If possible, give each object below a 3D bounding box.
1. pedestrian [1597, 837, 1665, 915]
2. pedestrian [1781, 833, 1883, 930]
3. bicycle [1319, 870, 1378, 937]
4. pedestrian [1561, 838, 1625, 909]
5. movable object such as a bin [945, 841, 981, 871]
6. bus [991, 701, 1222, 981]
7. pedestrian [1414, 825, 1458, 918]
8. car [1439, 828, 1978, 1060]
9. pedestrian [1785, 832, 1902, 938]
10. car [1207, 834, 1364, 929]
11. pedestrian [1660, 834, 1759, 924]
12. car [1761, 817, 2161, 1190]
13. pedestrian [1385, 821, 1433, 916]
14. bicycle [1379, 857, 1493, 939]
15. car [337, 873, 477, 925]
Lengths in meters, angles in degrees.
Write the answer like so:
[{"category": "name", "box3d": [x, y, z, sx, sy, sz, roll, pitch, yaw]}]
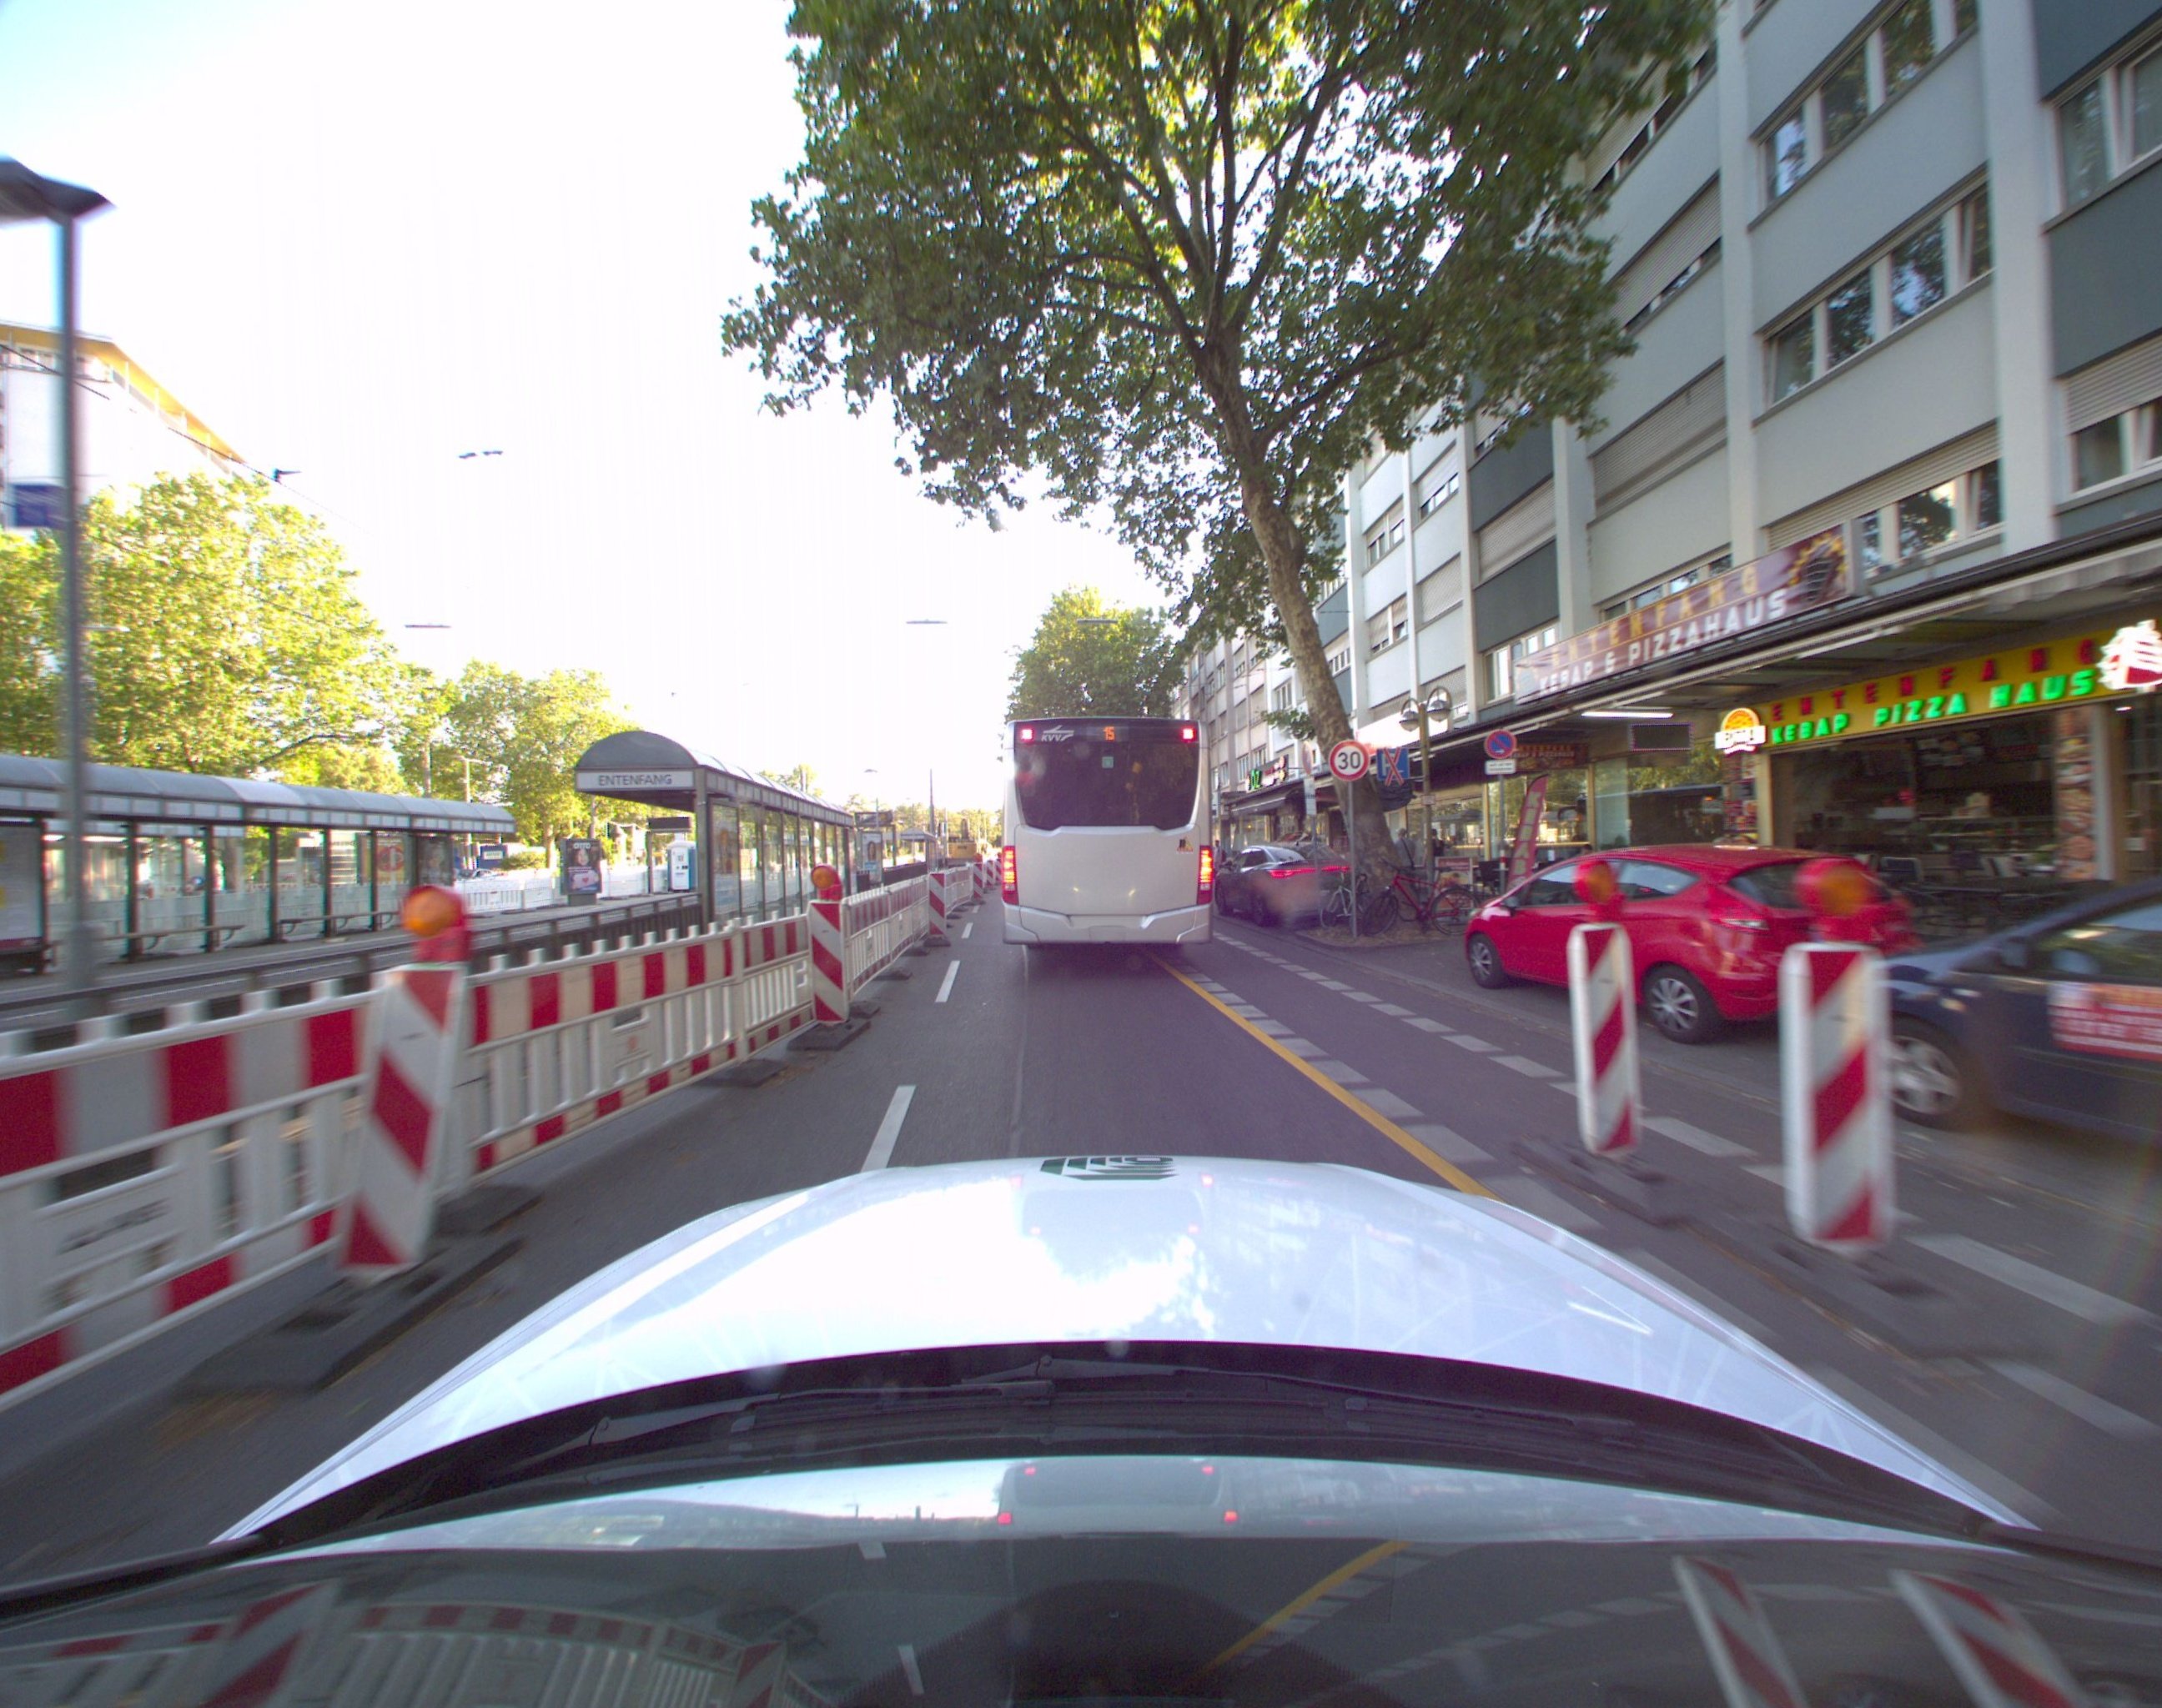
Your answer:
[{"category": "pedestrian", "box3d": [9.248, 0.358, 13.713, 0.612, 1.243, 0.713, -5, -1, 8]}, {"category": "pedestrian", "box3d": [9.621, 0.343, 10.456, 0.669, 1.156, 0.595, -5, -1, -2]}, {"category": "bicycle", "box3d": [4.199, 0.760, 12.851, 0.295, 0.927, 1.126, -7, 3, -11]}, {"category": "pedestrian", "box3d": [9.261, 0.346, 14.750, 0.673, 1.203, 0.706, -5, -1, 9]}, {"category": "movable object such as a bin", "box3d": [-10.062, 0.148, 70.000, 2.803, 2.462, 3.992, -2, 0, -6]}, {"category": "bus", "box3d": [0.382, -0.152, 14.519, 2.599, 3.169, 10.293, -1, 0, 1]}, {"category": "pedestrian", "box3d": [7.928, 0.384, 18.231, 0.611, 2.013, 0.696, -2, 0, -1]}, {"category": "car", "box3d": [5.111, 0.596, 7.415, 1.664, 1.429, 3.840, -4, 0, -6]}, {"category": "pedestrian", "box3d": [8.991, 0.353, 9.631, 0.591, 1.156, 0.752, -5, -1, 0]}, {"category": "car", "box3d": [4.071, 0.500, 16.994, 1.737, 1.597, 4.290, -4, 0, -6]}, {"category": "pedestrian", "box3d": [9.231, 0.359, 11.986, 0.858, 1.220, 0.699, -5, -1, 13]}, {"category": "car", "box3d": [5.195, 0.592, 3.331, 1.616, 1.466, 3.600, -4, 0, -4]}, {"category": "pedestrian", "box3d": [7.144, 0.310, 17.765, 0.689, 2.013, 0.695, -2, 0, -3]}, {"category": "bicycle", "box3d": [5.250, 0.654, 12.082, 1.451, 1.066, 0.296, -5, 3, 10]}, {"category": "car", "box3d": [-26.756, 1.731, 32.585, 1.944, 1.654, 4.682, -2, 1, -5]}]
